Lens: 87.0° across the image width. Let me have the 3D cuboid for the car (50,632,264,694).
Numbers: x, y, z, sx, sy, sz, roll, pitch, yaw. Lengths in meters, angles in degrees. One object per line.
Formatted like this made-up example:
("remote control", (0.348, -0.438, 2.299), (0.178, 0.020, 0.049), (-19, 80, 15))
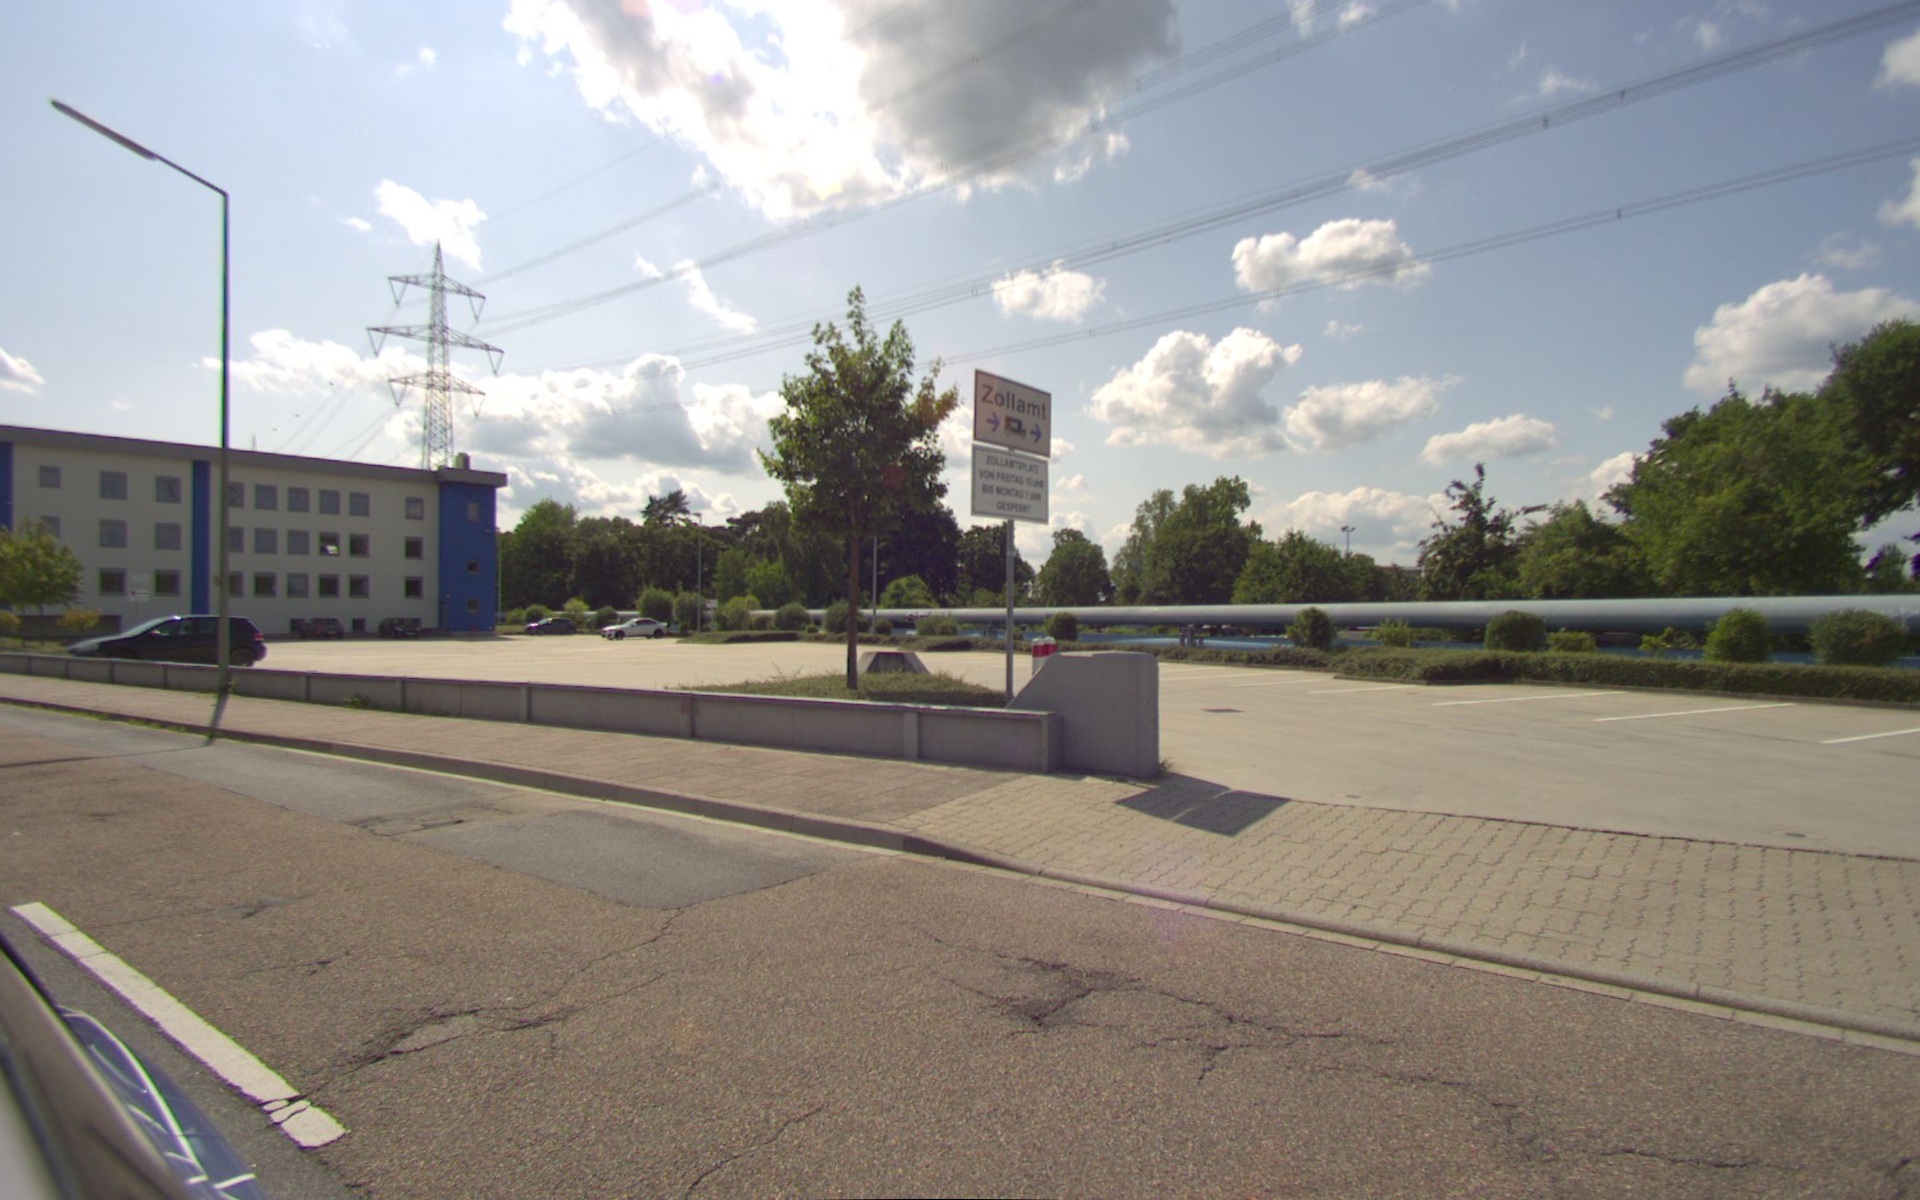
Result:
("car", (-20.425, 1.545, 25.904), (1.799, 1.386, 3.953), (-1, -1, 34))

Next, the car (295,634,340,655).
("car", (-44.143, 3.007, 69.483), (3.676, 1.386, 1.547), (-2, -2, 39))

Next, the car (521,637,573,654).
("car", (-33.667, 3.694, 82.514), (1.803, 1.261, 3.559), (-2, -2, 43))

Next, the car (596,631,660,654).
("car", (-22.689, 2.872, 69.224), (3.767, 1.485, 1.806), (1, -2, -42))

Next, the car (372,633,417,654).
("car", (-40.626, 3.127, 72.668), (3.676, 1.386, 1.547), (-1, -1, 39))
